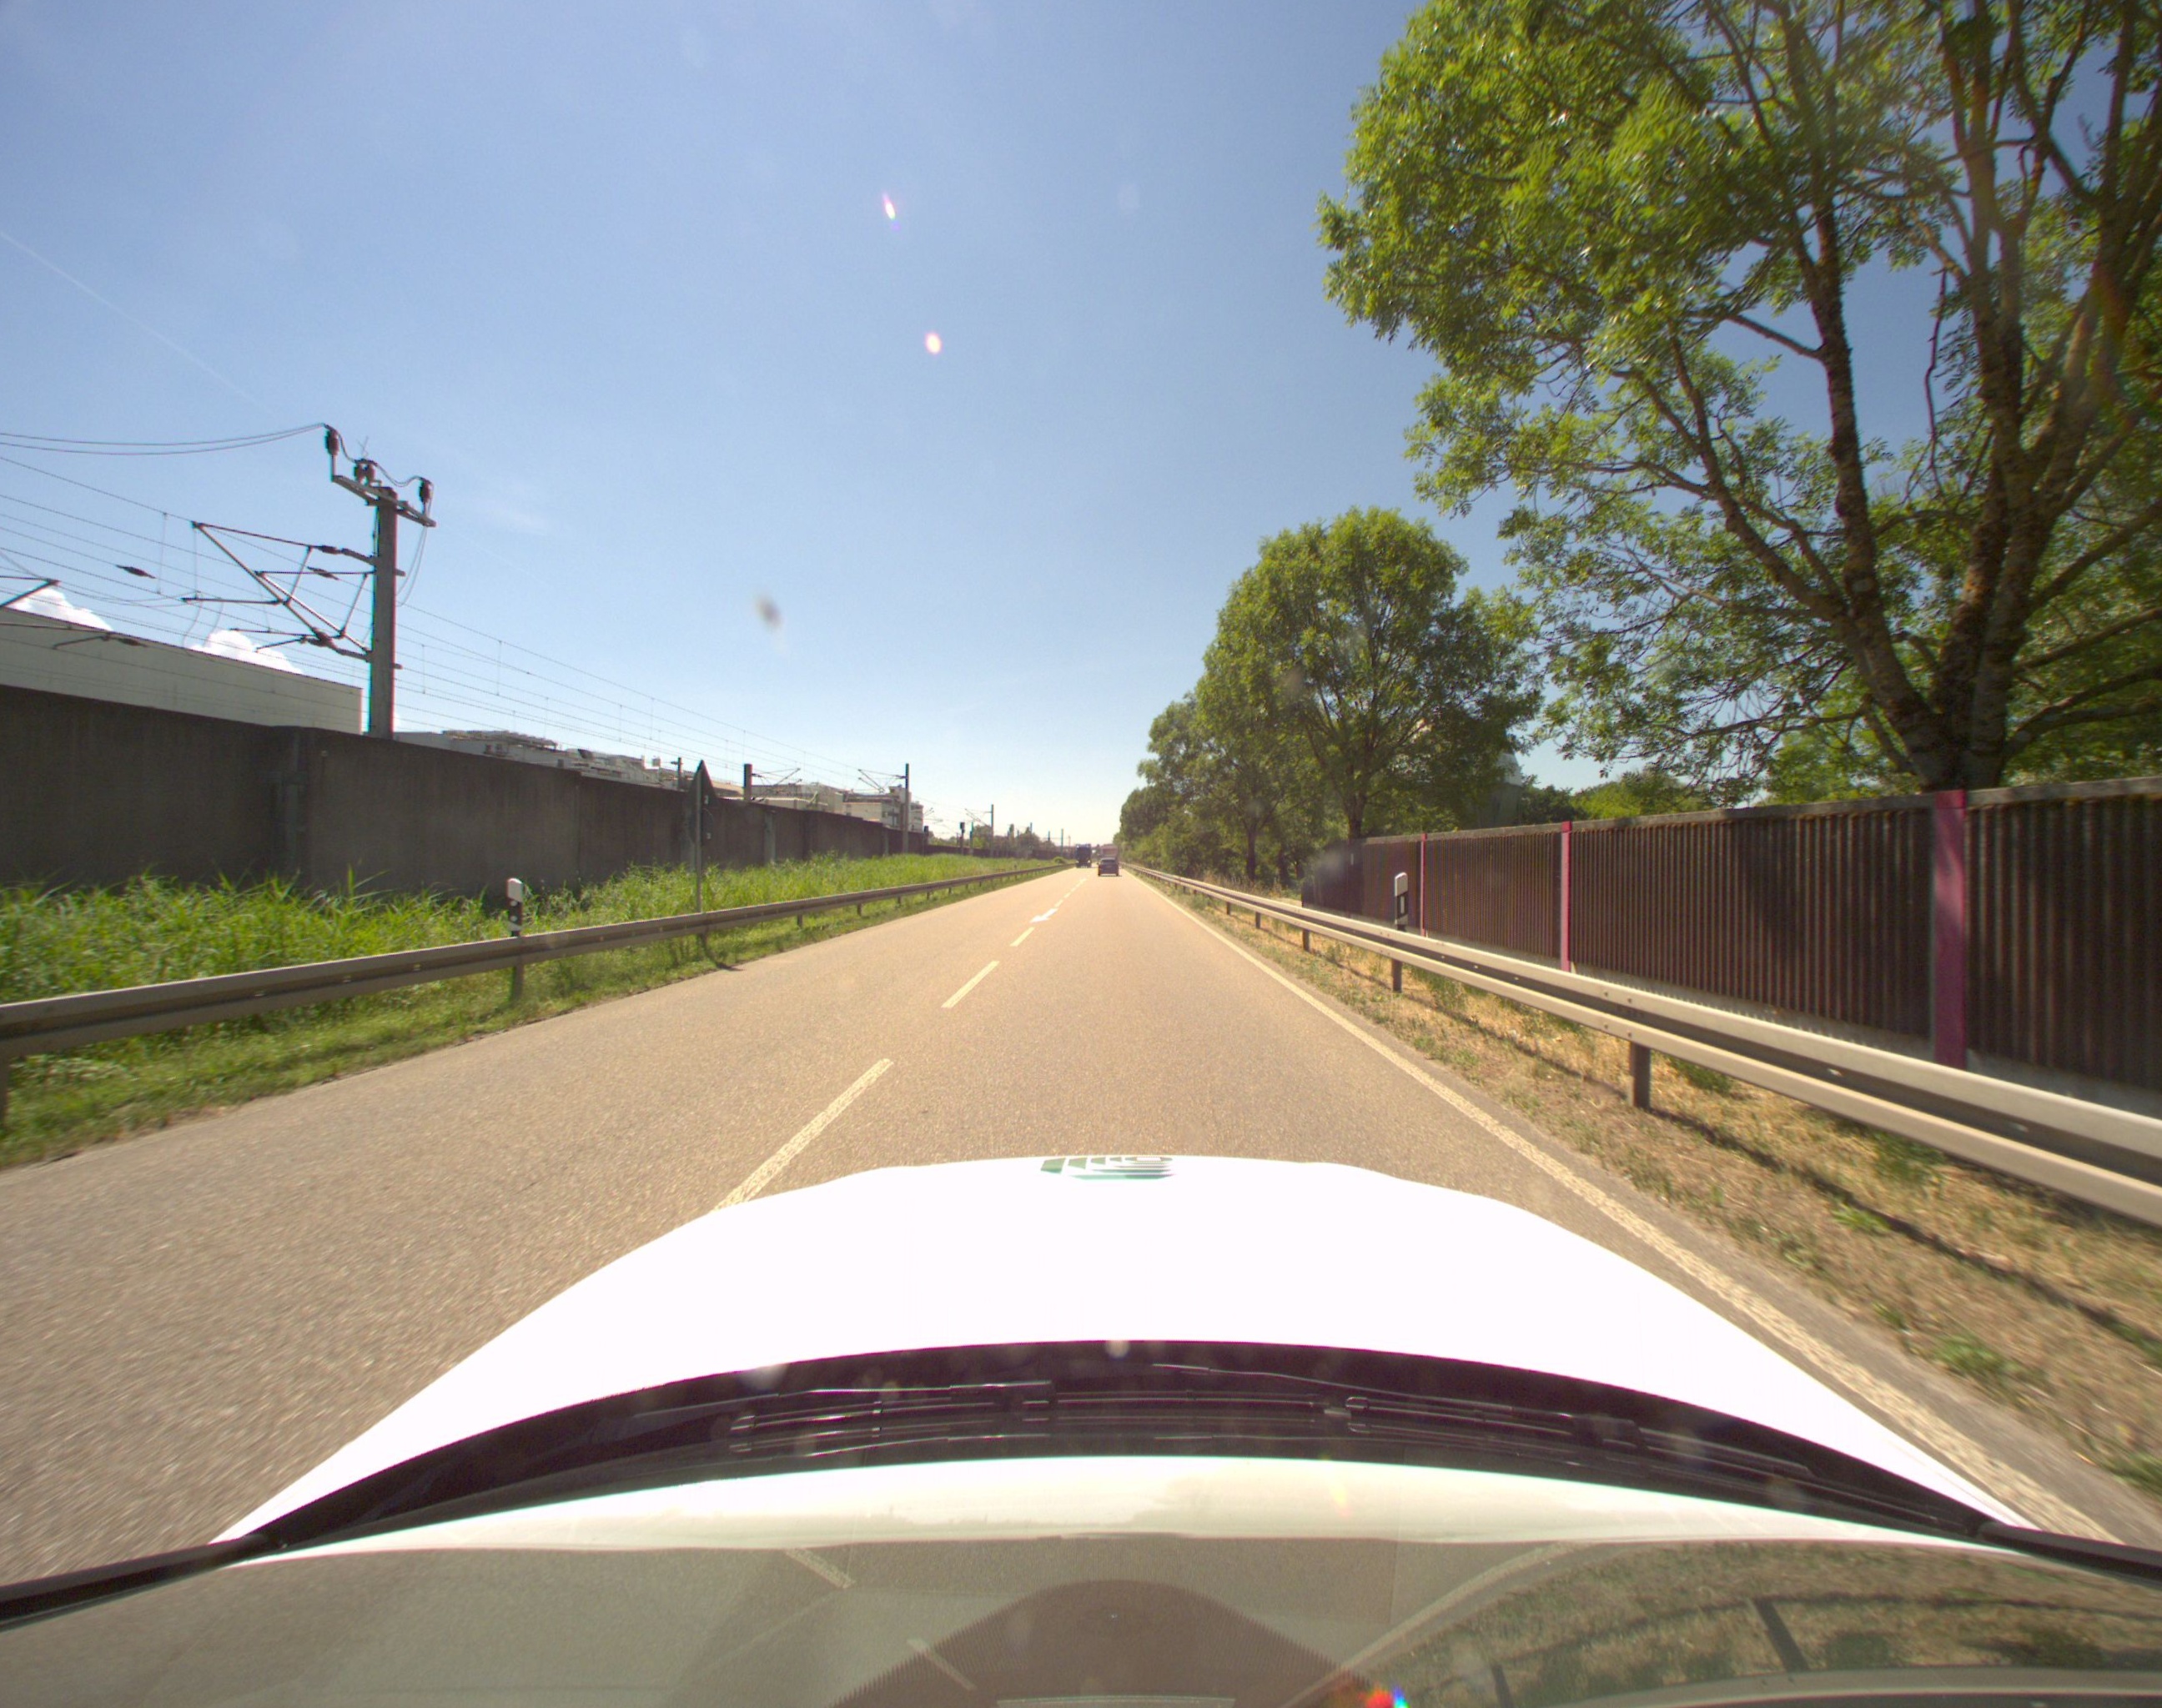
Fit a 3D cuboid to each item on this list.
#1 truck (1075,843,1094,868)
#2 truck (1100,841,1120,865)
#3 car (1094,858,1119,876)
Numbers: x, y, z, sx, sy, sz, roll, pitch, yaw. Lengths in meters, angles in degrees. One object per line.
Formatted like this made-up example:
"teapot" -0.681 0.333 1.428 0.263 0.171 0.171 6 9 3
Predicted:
"truck" 0.660 0.261 138.413 2.786 3.978 10.504 1 0 2
"truck" 4.256 -0.079 120.776 2.760 3.425 10.823 0 -1 2
"car" 2.195 1.103 70.636 1.987 1.508 3.999 -1 0 0
